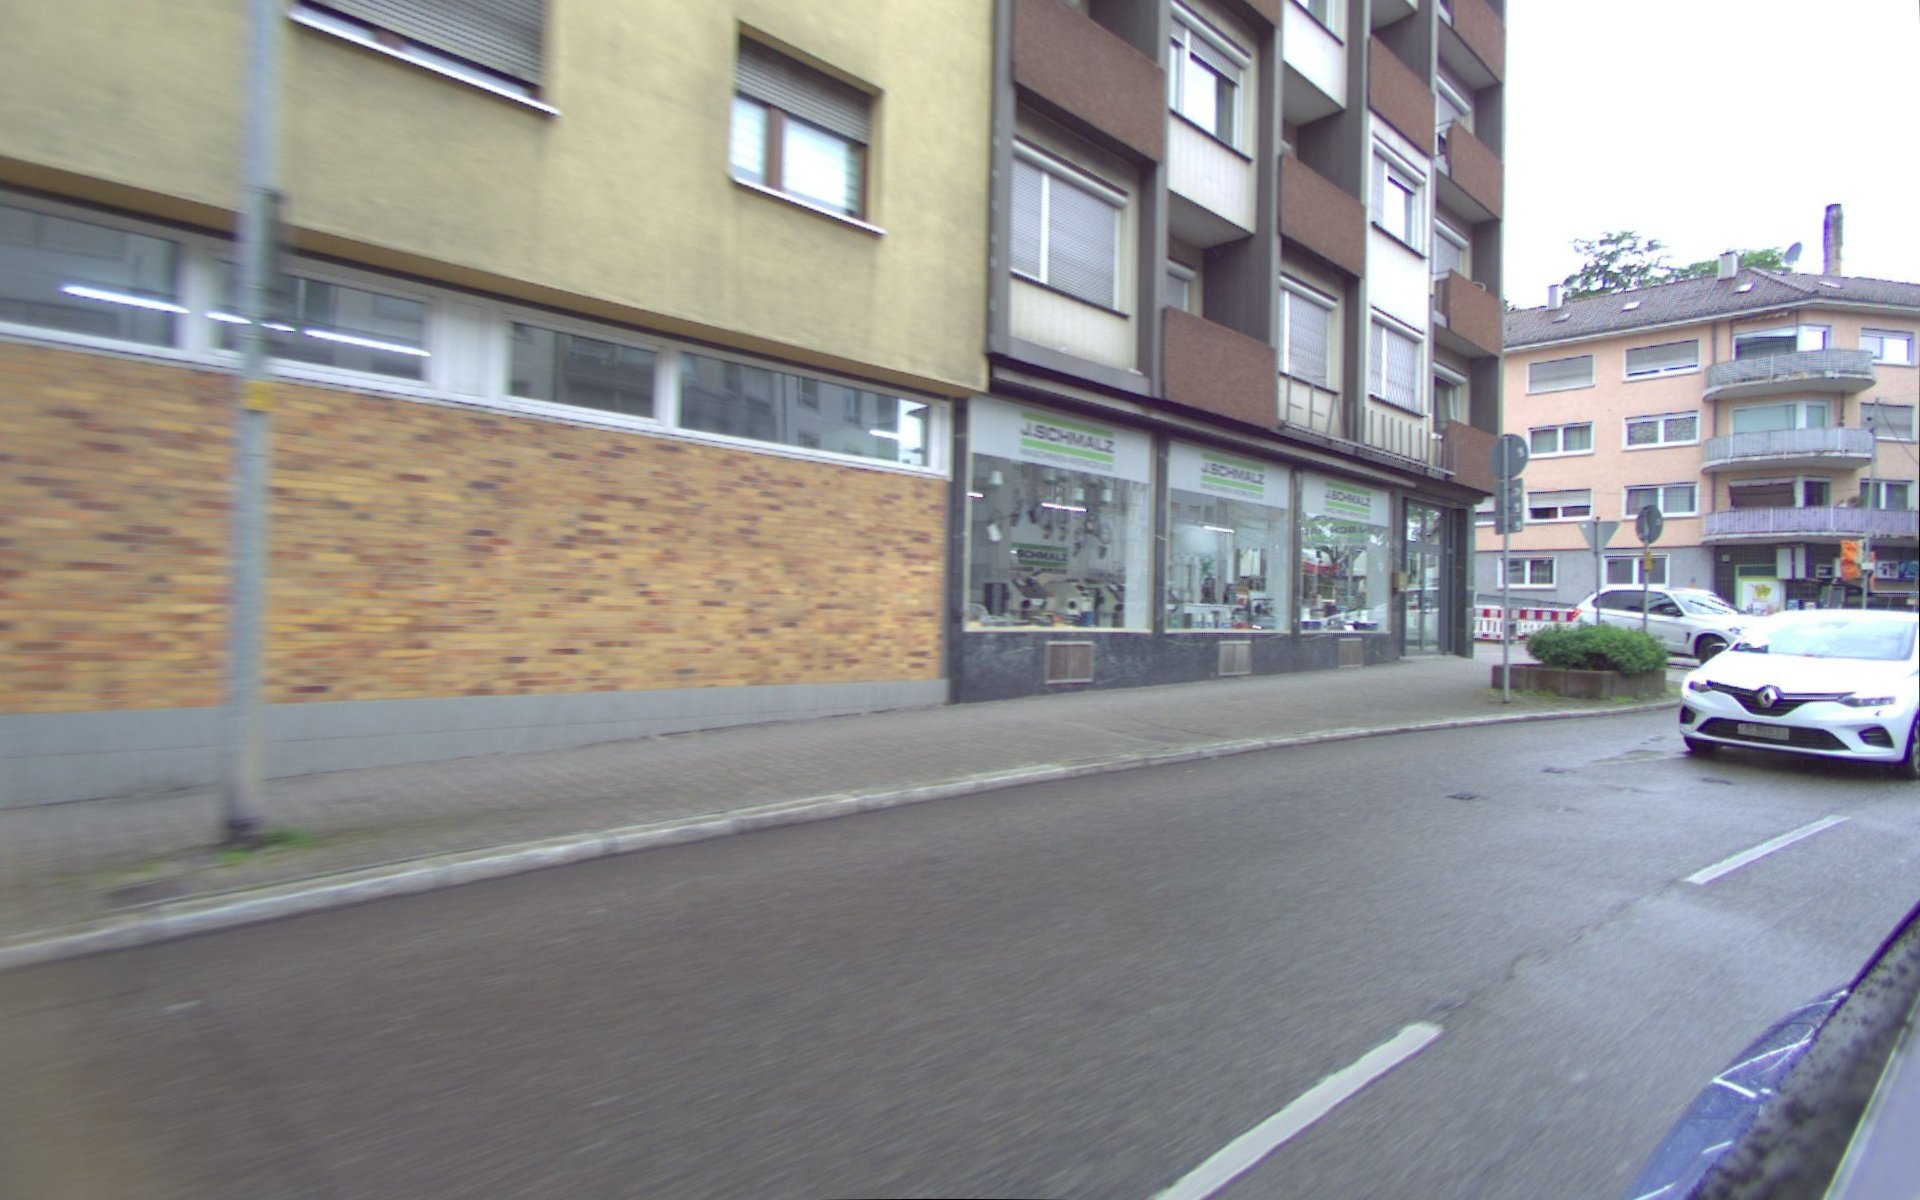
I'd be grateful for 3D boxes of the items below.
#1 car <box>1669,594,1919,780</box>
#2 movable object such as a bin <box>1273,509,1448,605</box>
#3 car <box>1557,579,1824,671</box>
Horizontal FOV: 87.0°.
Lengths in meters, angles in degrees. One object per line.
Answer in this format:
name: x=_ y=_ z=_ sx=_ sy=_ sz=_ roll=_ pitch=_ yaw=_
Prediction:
car: x=8.743 y=0.712 z=9.812 sx=3.922 sy=1.421 sz=1.683 roll=1 pitch=2 yaw=-33
movable object such as a bin: x=17.925 y=-2.009 z=45.585 sx=2.698 sy=3.680 sz=6.524 roll=2 pitch=4 yaw=-45
car: x=16.393 y=0.468 z=23.110 sx=1.958 sy=1.741 sz=4.809 roll=2 pitch=2 yaw=-12
